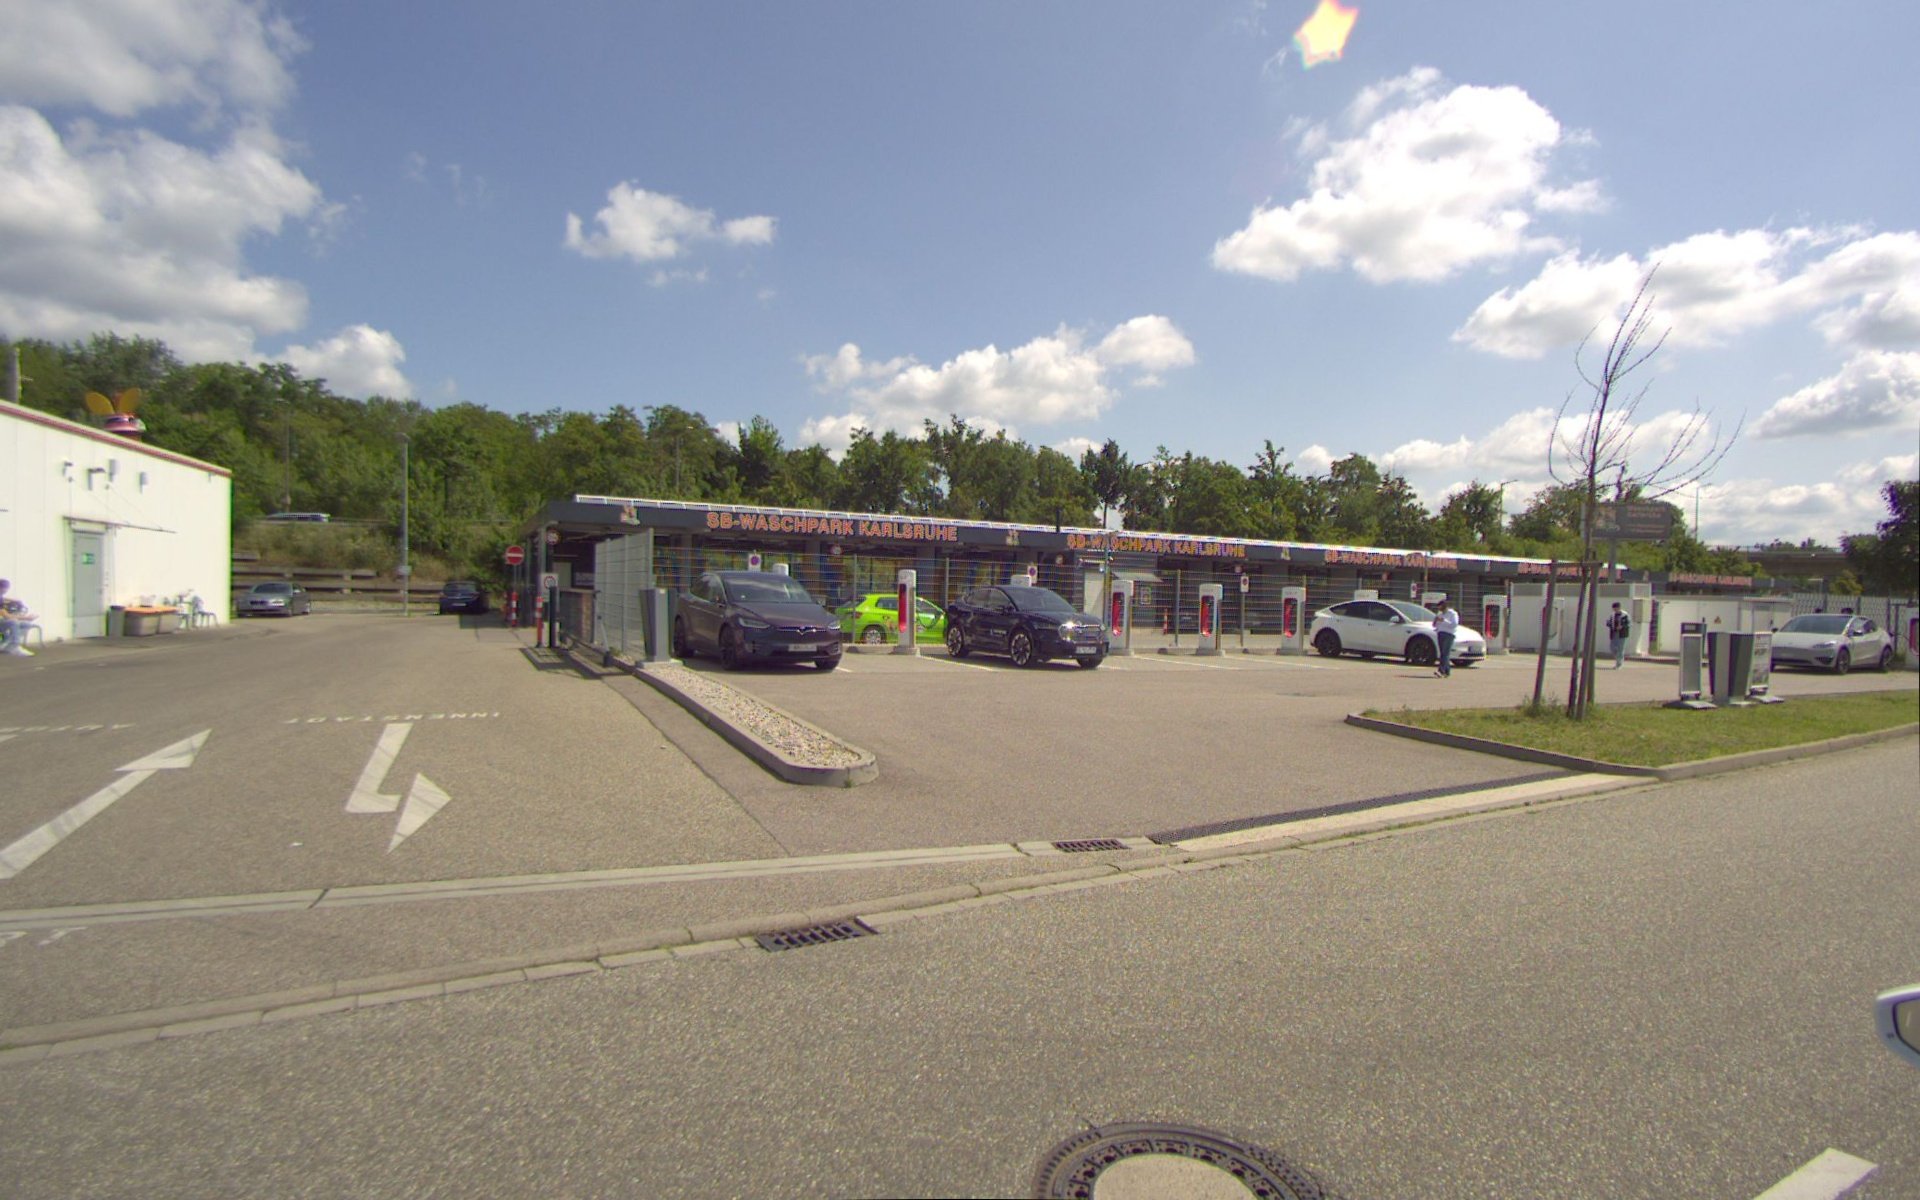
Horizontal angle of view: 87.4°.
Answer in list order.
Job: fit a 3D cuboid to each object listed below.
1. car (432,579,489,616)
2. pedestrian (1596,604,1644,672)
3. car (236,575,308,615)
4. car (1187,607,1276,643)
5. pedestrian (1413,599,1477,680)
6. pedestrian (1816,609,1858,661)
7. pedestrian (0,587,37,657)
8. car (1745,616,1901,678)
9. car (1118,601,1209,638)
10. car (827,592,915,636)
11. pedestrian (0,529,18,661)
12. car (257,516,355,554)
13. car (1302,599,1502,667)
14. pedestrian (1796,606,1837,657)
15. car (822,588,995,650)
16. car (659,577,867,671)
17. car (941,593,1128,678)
[{"bbox_3d":[-22.290,-0.111,44.954,1.861,1.525,3.980,2,-1,-21],"label":"car"},{"bbox_3d":[17.908,1.022,27.258,0.721,1.775,0.856,2,0,-37],"label":"pedestrian"},{"bbox_3d":[-28.516,-0.193,41.748,1.807,1.531,4.174,1,-1,-26],"label":"car"},{"bbox_3d":[13.034,1.179,48.427,1.976,1.583,3.969,2,-1,-29],"label":"car"},{"bbox_3d":[10.410,0.833,21.568,0.930,1.675,0.857,1,0,-32],"label":"pedestrian"},{"bbox_3d":[27.383,1.092,31.364,0.707,1.600,0.714,1,0,11],"label":"pedestrian"},{"bbox_3d":[-16.661,0.370,17.412,0.835,1.181,0.704,4,-1,-37],"label":"pedestrian"},{"bbox_3d":[24.741,1.282,28.771,4.718,1.538,1.921,0,1,-30],"label":"car"},{"bbox_3d":[9.229,0.878,45.819,1.976,1.583,3.969,2,-1,-29],"label":"car"},{"bbox_3d":[-3.534,0.533,39.418,1.976,1.583,3.969,2,-1,-29],"label":"car"},{"bbox_3d":[-15.378,-0.102,15.618,0.857,2.040,0.931,4,-1,-37],"label":"pedestrian"},{"bbox_3d":[-35.022,-3.444,53.827,4.333,1.673,1.980,2,-1,-36],"label":"car"},{"bbox_3d":[11.593,0.826,26.644,1.978,1.544,4.526,2,0,-31],"label":"car"},{"bbox_3d":[27.443,0.996,32.202,0.699,1.586,0.760,1,0,11],"label":"pedestrian"},{"bbox_3d":[-1.374,0.525,27.146,4.244,1.502,1.909,2,0,-27],"label":"car"},{"bbox_3d":[-3.735,0.351,18.321,2.213,1.475,4.720,1,1,-32],"label":"car"},{"bbox_3d":[1.450,0.677,20.994,1.977,1.539,3.967,2,0,-30],"label":"car"}]
